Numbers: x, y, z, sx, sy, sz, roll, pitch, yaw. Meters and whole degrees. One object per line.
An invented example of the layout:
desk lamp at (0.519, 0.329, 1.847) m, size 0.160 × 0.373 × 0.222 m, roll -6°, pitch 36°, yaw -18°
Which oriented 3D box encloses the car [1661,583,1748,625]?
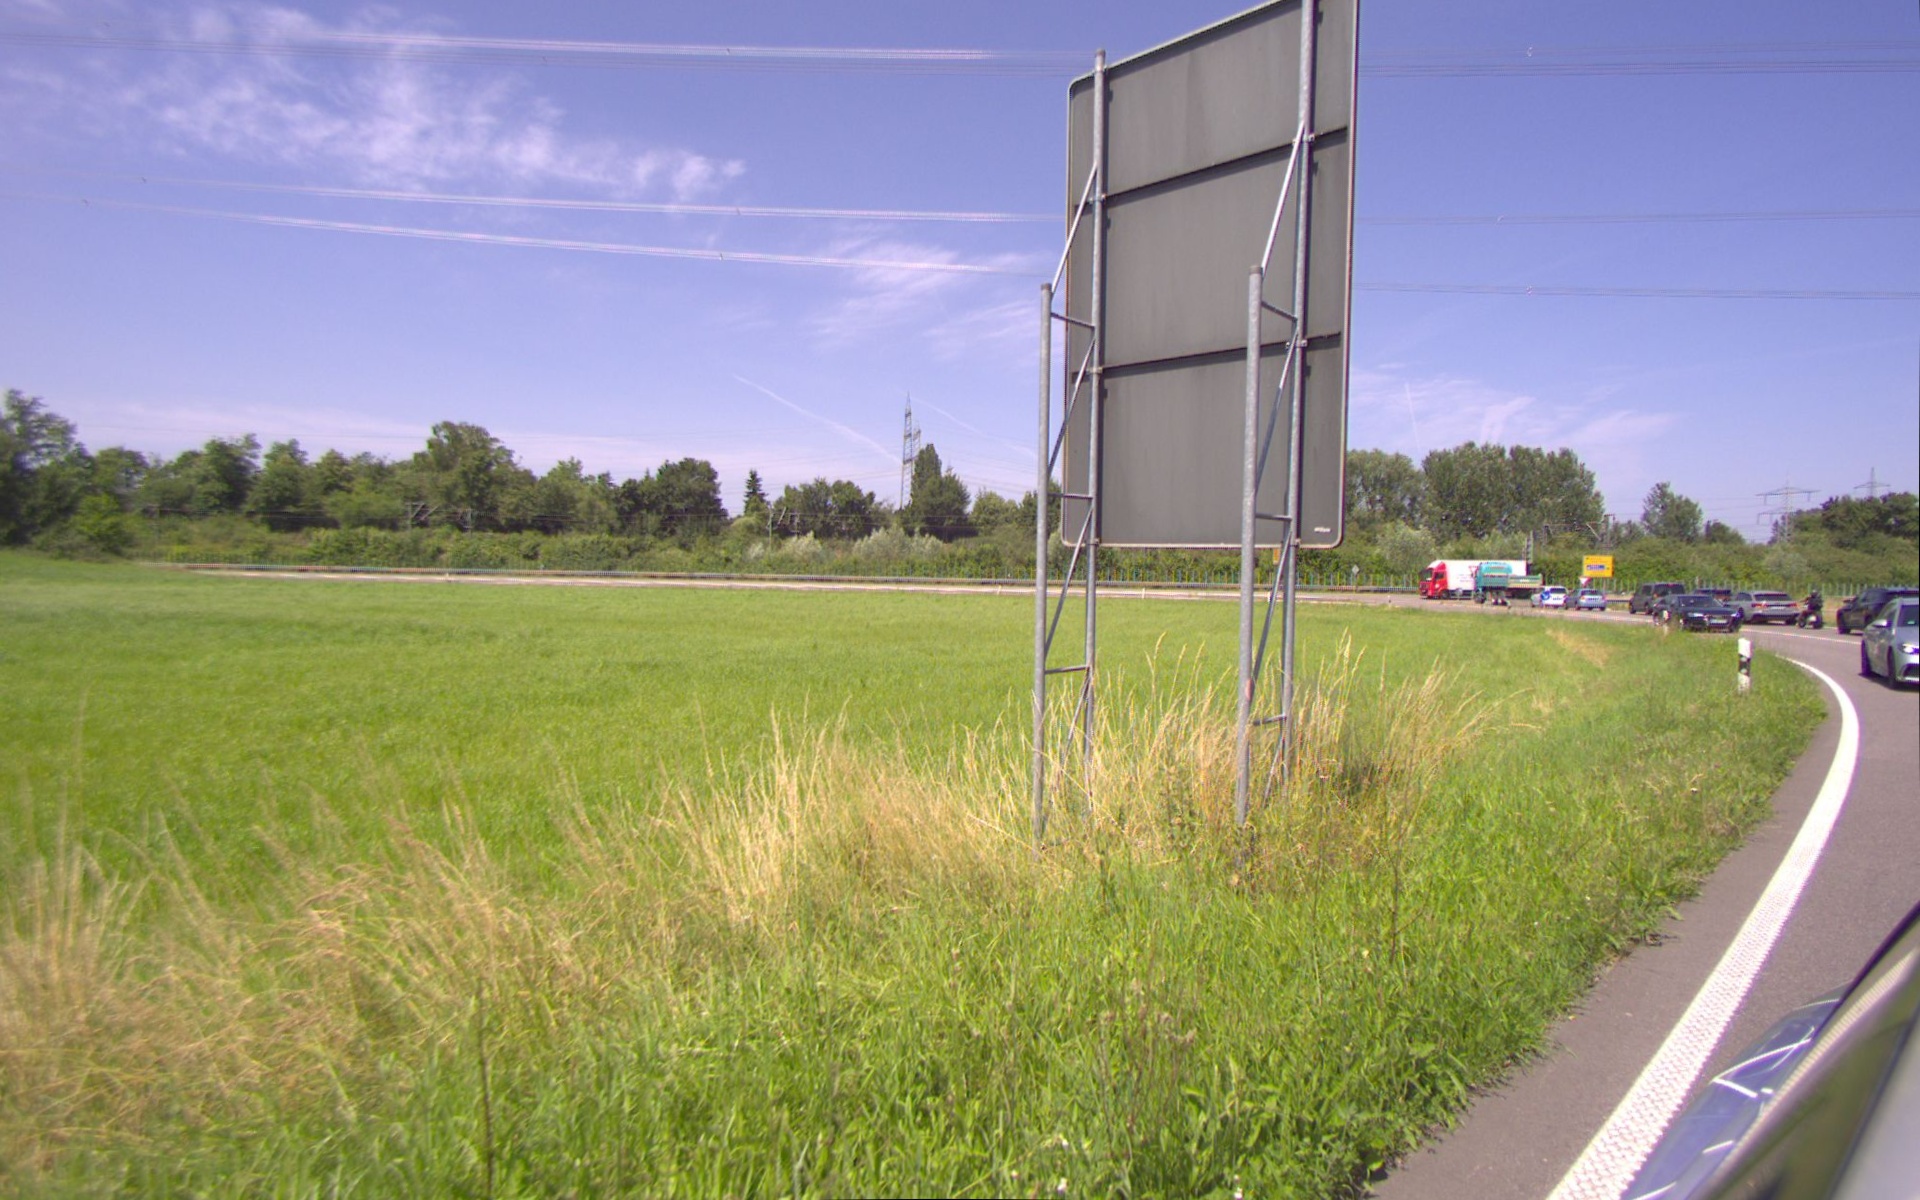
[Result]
car at (28.247, 0.105, 38.524) m, size 1.806 × 1.457 × 4.114 m, roll 1°, pitch 2°, yaw 25°

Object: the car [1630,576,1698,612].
car at (39.665, -0.377, 57.119) m, size 1.907 × 1.854 × 4.414 m, roll 1°, pitch 2°, yaw 18°

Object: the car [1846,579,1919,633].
car at (30.843, 0.167, 33.146) m, size 1.690 × 1.658 × 4.211 m, roll -1°, pitch 1°, yaw 26°

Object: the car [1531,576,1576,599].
car at (43.078, -0.905, 73.564) m, size 1.753 × 1.641 × 4.310 m, roll -1°, pitch 1°, yaw 15°

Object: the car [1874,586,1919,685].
car at (16.359, 0.537, 16.500) m, size 1.815 × 1.505 × 4.092 m, roll 1°, pitch 1°, yaw 37°

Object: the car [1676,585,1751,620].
car at (37.468, 0.075, 50.442) m, size 1.782 × 1.534 × 4.364 m, roll 2°, pitch 2°, yaw 20°

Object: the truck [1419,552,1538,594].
truck at (47.419, -2.455, 92.741) m, size 9.381 × 3.623 × 2.724 m, roll -1°, pitch 1°, yaw 4°

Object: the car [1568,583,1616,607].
car at (42.058, -0.345, 67.431) m, size 1.614 × 1.477 × 3.989 m, roll 1°, pitch 1°, yaw 15°

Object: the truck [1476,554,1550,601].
truck at (44.154, -1.821, 81.071) m, size 2.567 × 3.514 × 7.594 m, roll 1°, pitch 1°, yaw 8°

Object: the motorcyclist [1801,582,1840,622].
motorcyclist at (33.921, 0.071, 39.906) m, size 0.773 × 1.513 × 1.123 m, roll 1°, pitch 1°, yaw 20°

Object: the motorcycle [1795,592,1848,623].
motorcycle at (33.894, 0.268, 39.845) m, size 0.774 × 1.137 × 2.414 m, roll -1°, pitch 1°, yaw 20°

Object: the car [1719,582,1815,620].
car at (35.373, 0.009, 44.516) m, size 1.824 × 1.478 × 4.778 m, roll 0°, pitch 2°, yaw 20°
